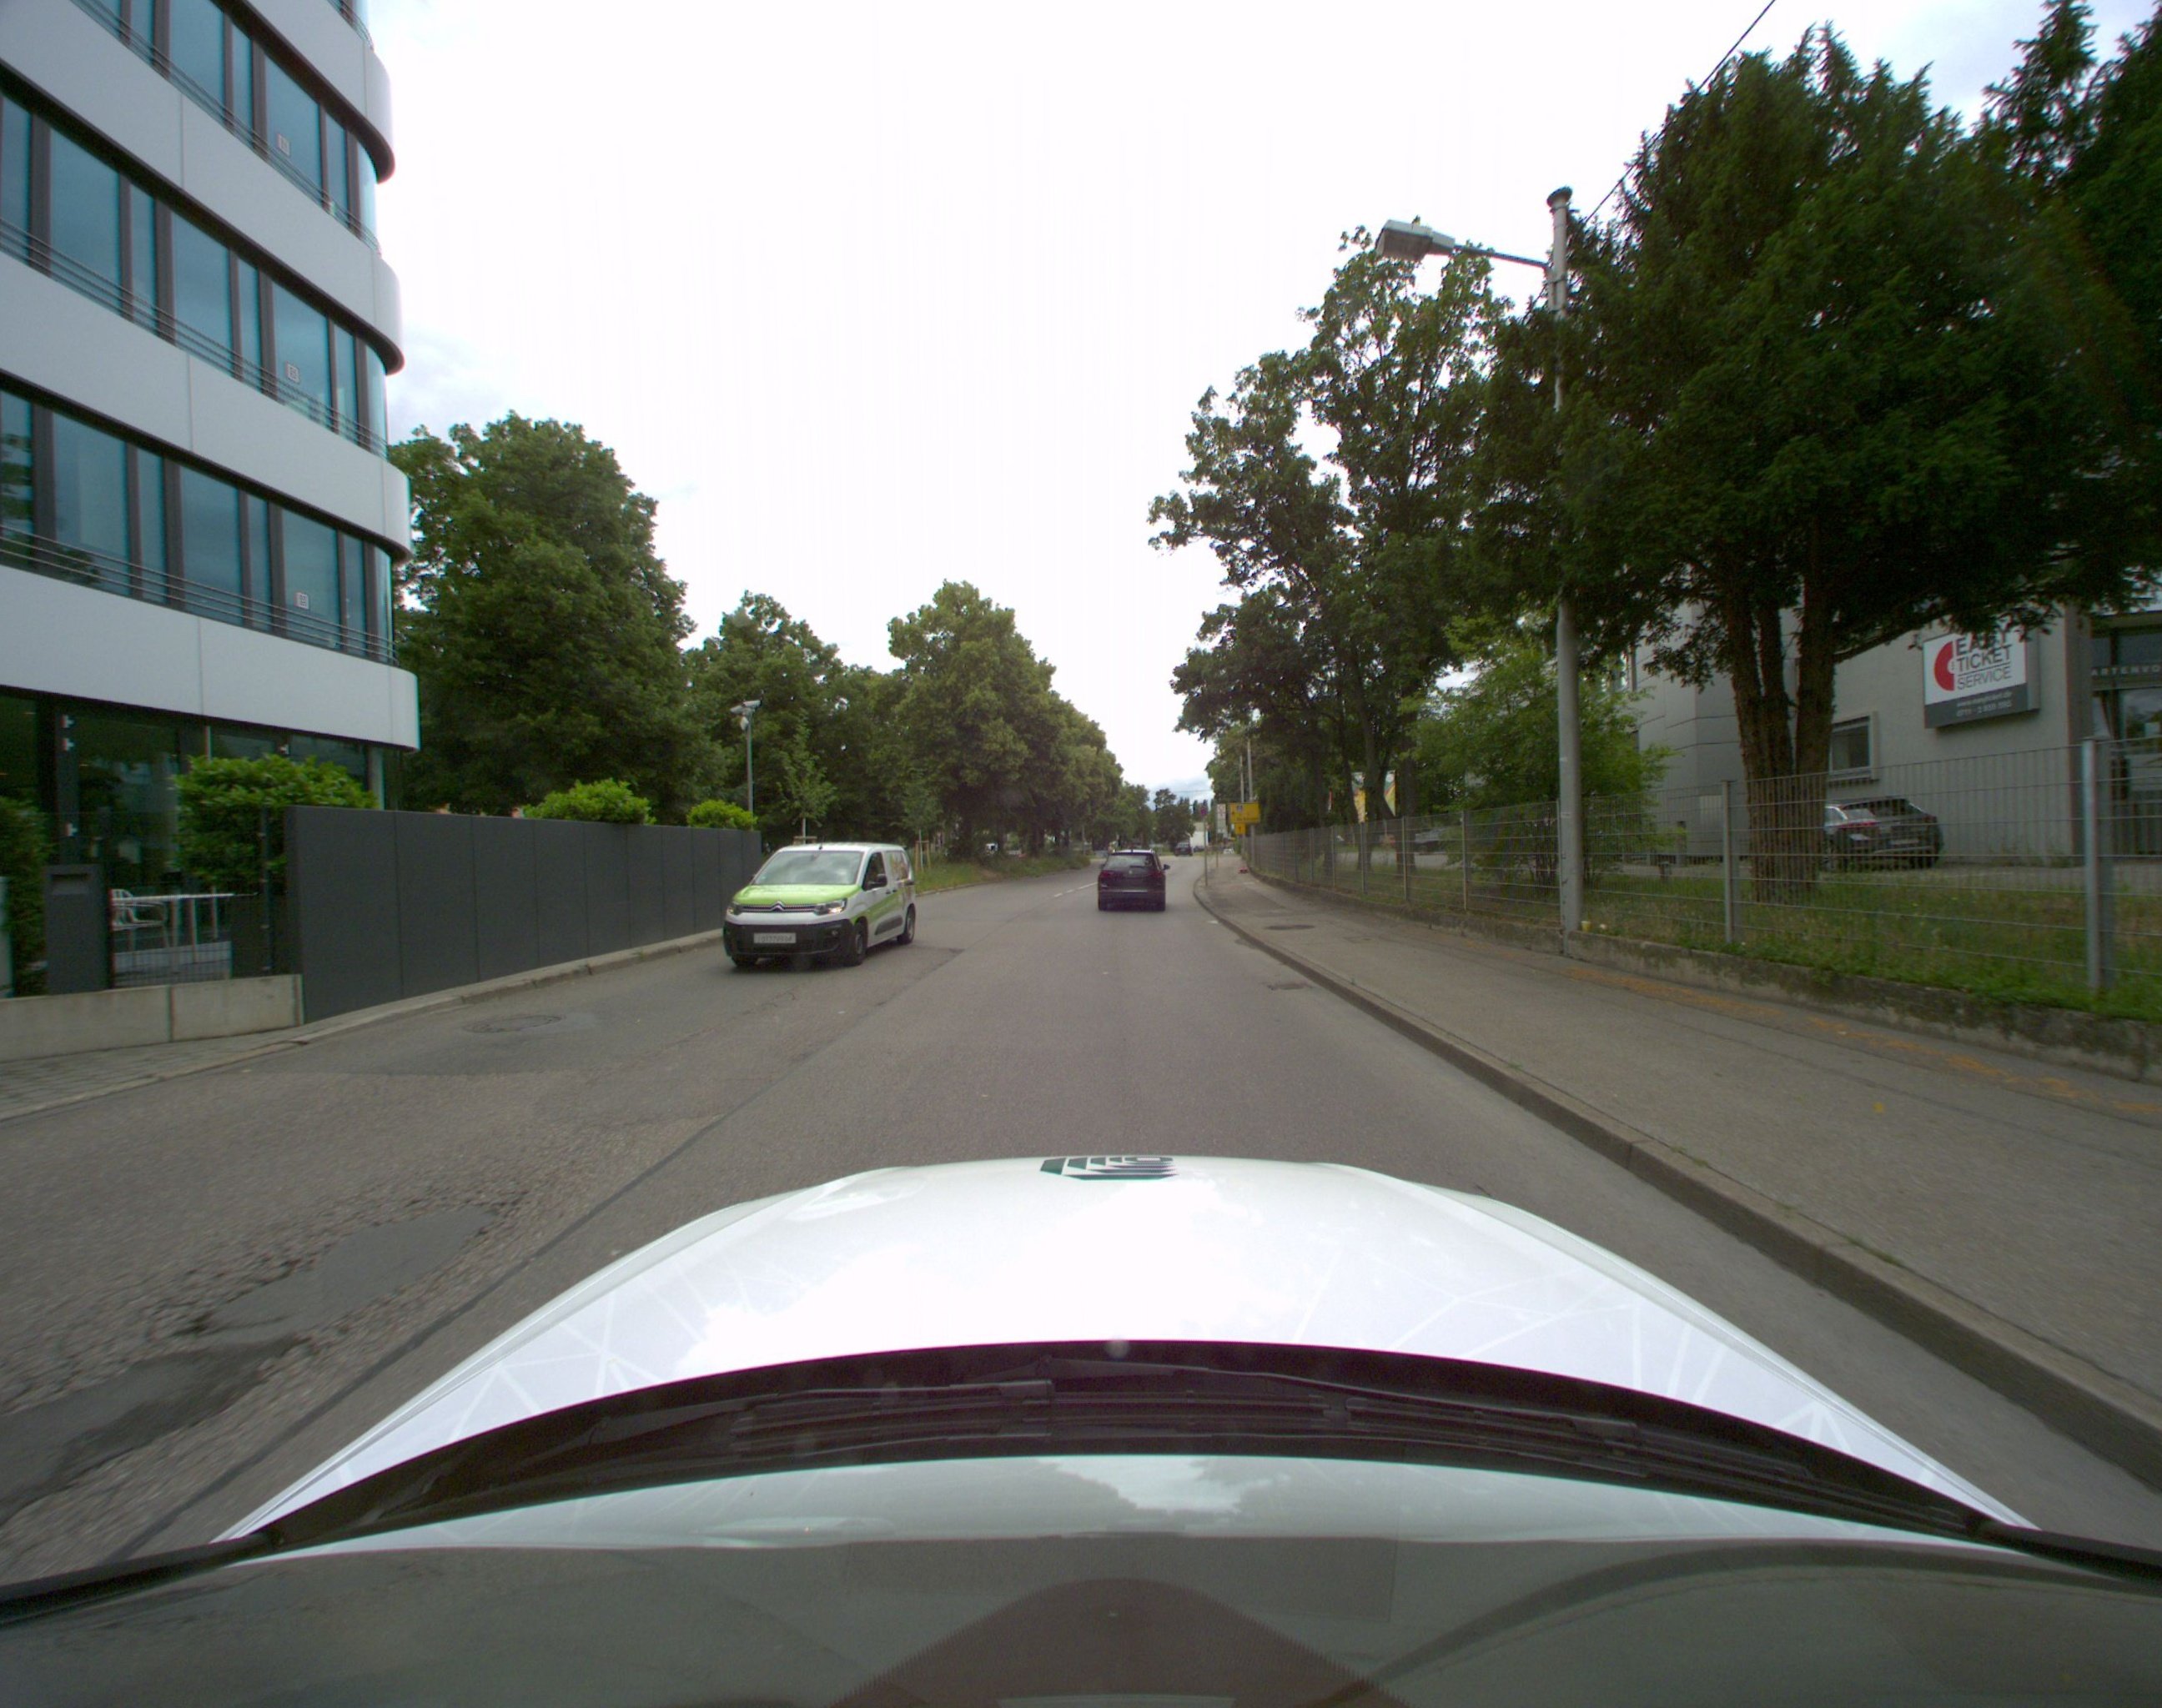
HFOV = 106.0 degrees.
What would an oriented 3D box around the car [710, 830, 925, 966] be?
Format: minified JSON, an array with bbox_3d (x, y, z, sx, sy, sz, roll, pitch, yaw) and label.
[{"bbox_3d":[-3.879,0.574,12.815,1.800,1.764,4.209,-1,0,3],"label":"car"}]

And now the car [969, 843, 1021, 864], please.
[{"bbox_3d":[-10.667,-0.100,101.294,6.044,2.387,2.397,-2,1,3],"label":"car"}]

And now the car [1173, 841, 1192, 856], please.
[{"bbox_3d":[11.275,-0.622,90.639,1.652,1.574,3.831,-3,0,3],"label":"car"}]

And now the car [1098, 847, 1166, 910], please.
[{"bbox_3d":[1.414,0.631,22.757,1.732,1.618,3.644,0,0,3],"label":"car"}]

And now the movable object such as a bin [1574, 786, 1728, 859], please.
[{"bbox_3d":[20.037,-1.074,28.807,3.959,2.305,1.960,-3,0,13],"label":"movable object such as a bin"}]

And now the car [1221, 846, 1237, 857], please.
[{"bbox_3d":[25.400,-0.501,139.935,1.976,1.786,4.021,-1,0,22],"label":"car"}]

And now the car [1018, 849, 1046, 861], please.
[{"bbox_3d":[-6.259,0.130,104.504,3.381,1.478,1.641,-2,1,1],"label":"car"}]

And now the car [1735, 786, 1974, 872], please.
[{"bbox_3d":[17.412,-0.563,18.696,1.979,1.566,4.459,-5,0,14],"label":"car"}]
